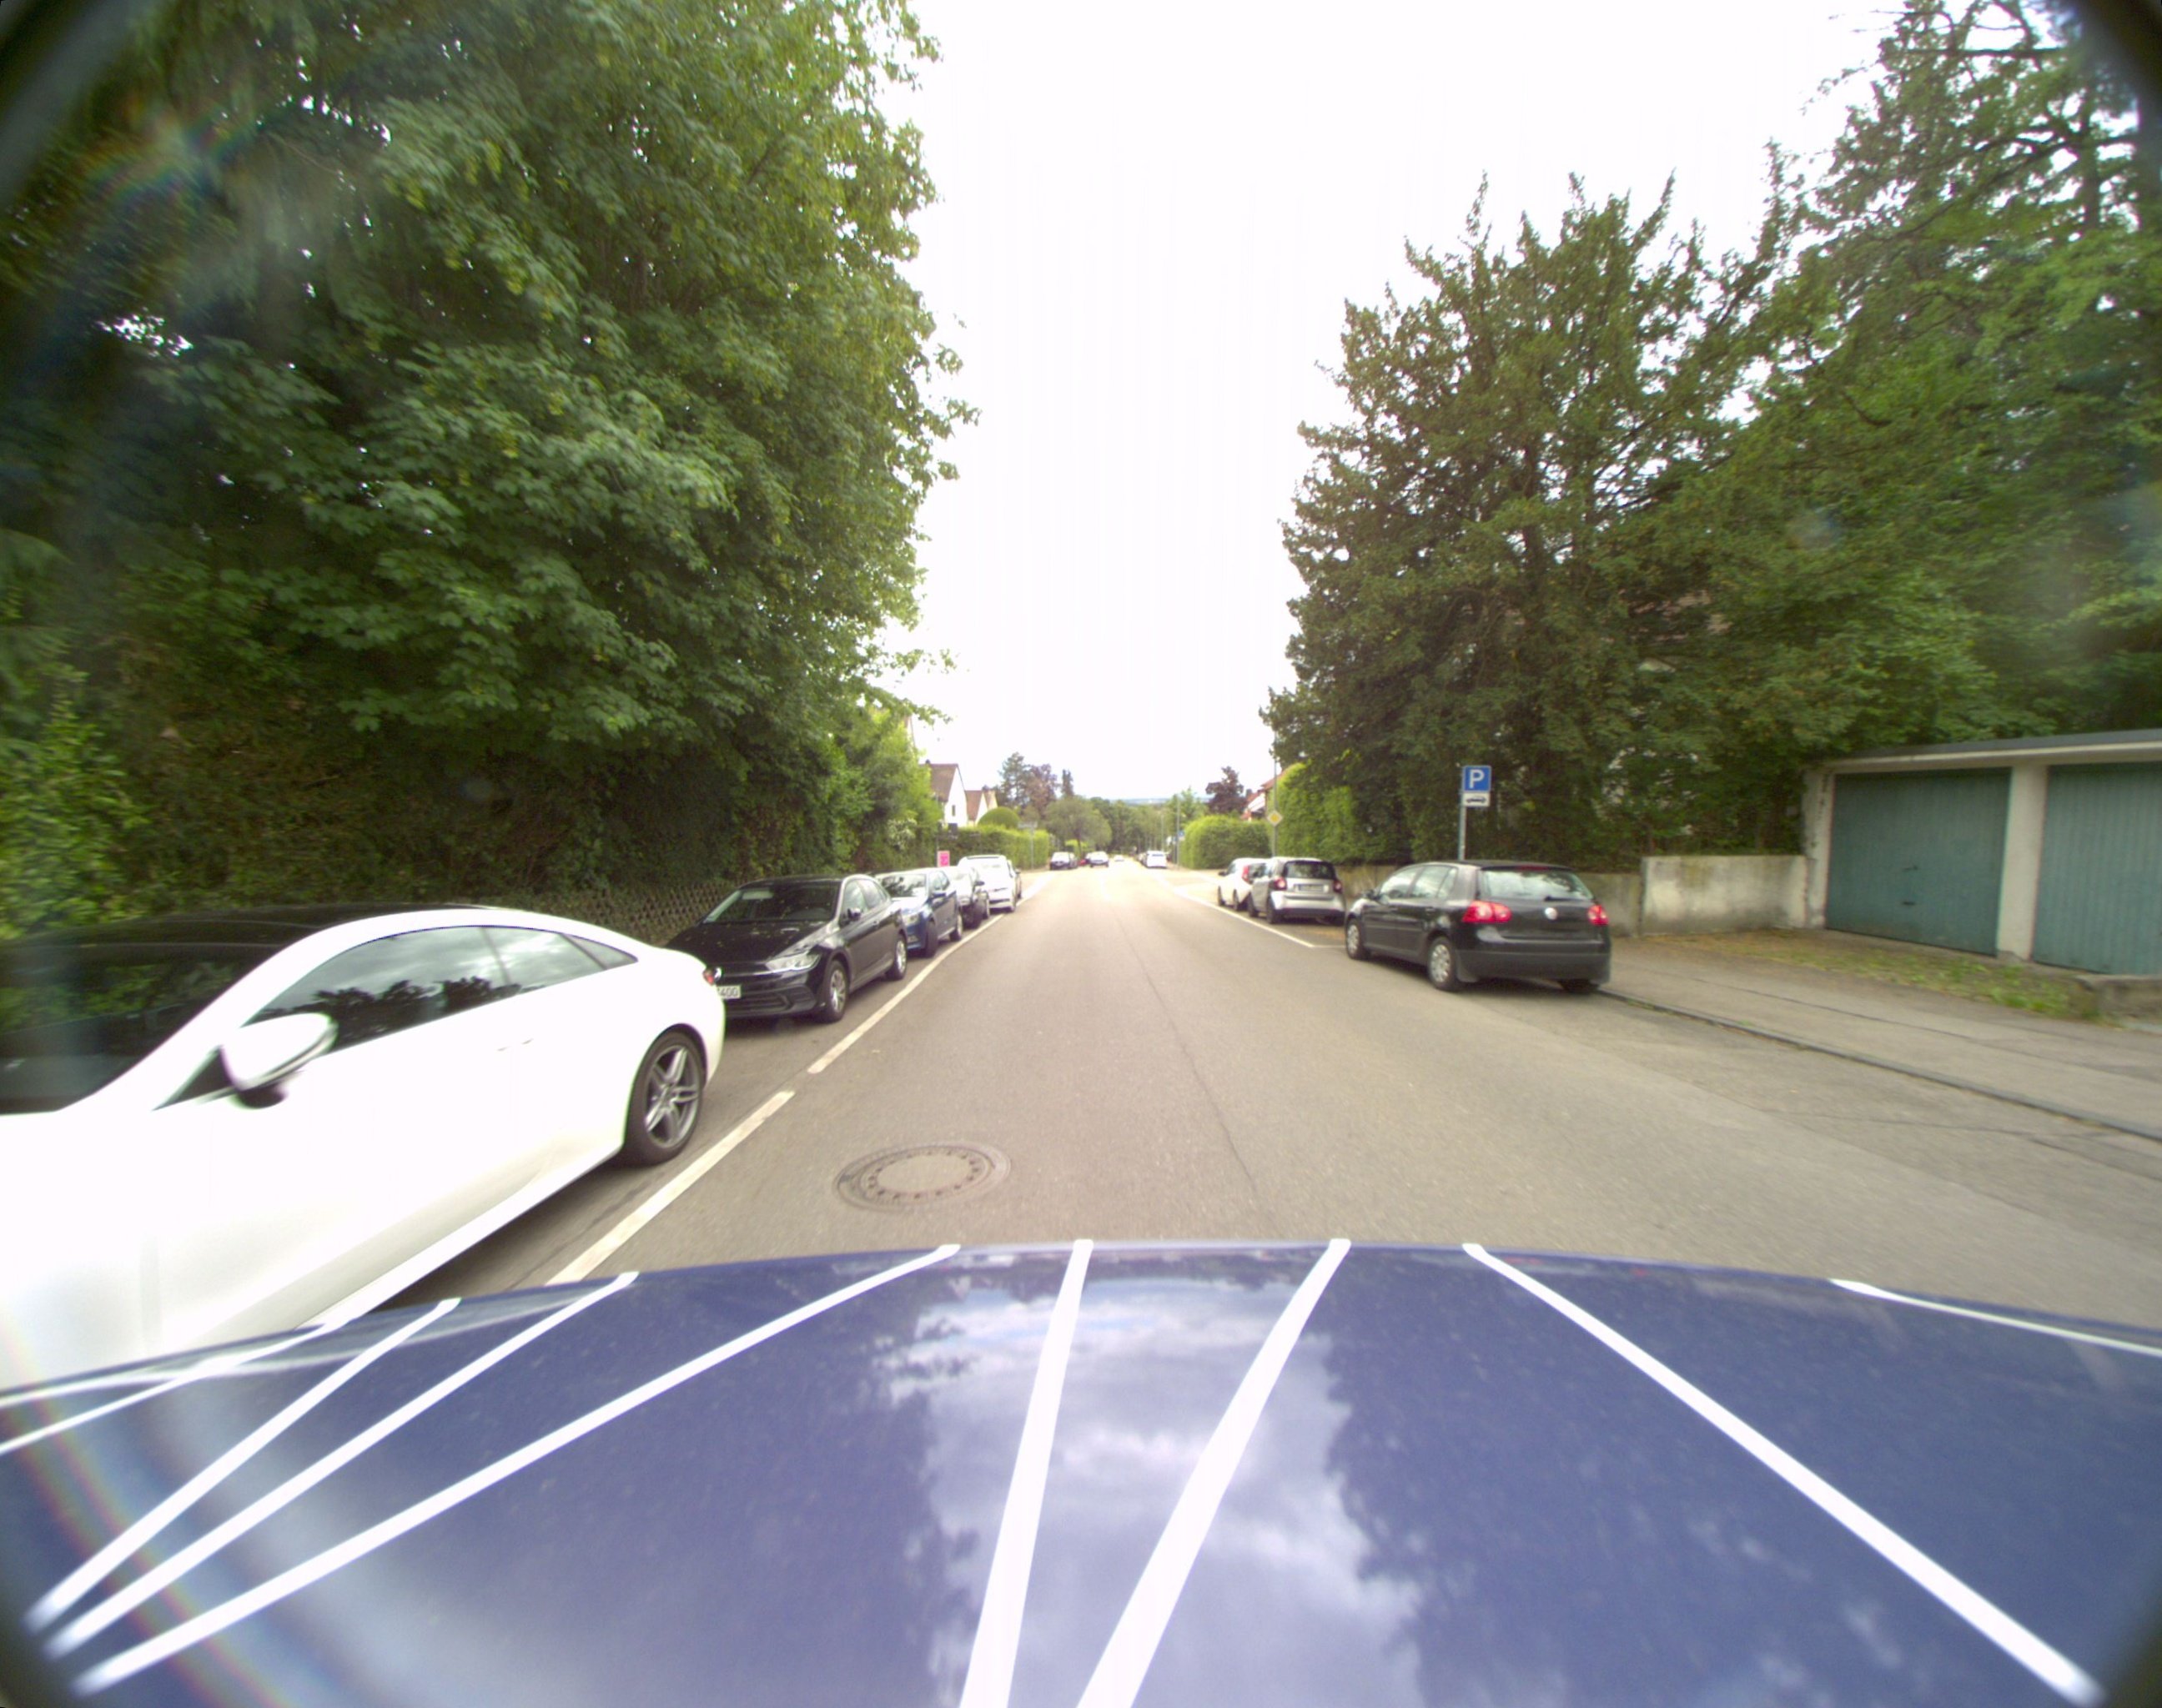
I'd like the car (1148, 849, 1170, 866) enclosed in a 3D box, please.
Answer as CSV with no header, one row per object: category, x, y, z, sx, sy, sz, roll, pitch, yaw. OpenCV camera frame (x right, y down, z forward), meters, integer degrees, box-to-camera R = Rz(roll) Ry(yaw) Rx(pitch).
car,6.811,0.268,66.598,1.693,1.411,3.580,2,0,4

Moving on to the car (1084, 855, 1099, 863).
car,1.508,0.713,112.359,1.998,1.221,4.001,0,0,4

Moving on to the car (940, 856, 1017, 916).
car,-2.972,0.888,22.961,2.006,1.599,4.756,0,0,-4

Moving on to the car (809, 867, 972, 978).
car,-3.109,1.045,13.317,1.702,1.499,4.160,-2,0,1

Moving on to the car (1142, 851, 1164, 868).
car,6.774,0.472,71.681,1.786,1.481,4.739,3,1,4

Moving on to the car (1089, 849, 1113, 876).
car,2.004,0.868,73.805,1.998,2.000,4.004,-8,-5,1

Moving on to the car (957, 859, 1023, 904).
car,-3.249,0.948,27.908,1.942,1.483,4.456,0,0,-1

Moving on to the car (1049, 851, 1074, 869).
car,-1.660,0.501,65.633,1.794,1.480,4.380,0,0,4

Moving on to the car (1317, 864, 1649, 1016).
car,4.804,0.909,10.050,1.855,1.461,4.682,0,0,-1

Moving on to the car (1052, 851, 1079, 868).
car,-1.419,0.508,71.061,1.927,1.485,5.211,0,0,6

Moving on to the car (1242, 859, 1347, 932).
car,4.929,0.911,17.925,1.628,1.510,2.975,0,1,-1

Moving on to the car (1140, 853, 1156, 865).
car,8.517,0.611,97.412,1.944,1.540,4.007,0,0,4

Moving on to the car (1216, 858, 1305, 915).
car,5.051,0.867,21.818,1.749,1.439,3.513,1,0,1

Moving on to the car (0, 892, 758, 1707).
car,-3.187,1.001,2.538,1.998,1.483,5.004,0,0,1

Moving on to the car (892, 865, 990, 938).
car,-3.229,1.044,18.293,1.815,1.444,4.376,0,0,-4
